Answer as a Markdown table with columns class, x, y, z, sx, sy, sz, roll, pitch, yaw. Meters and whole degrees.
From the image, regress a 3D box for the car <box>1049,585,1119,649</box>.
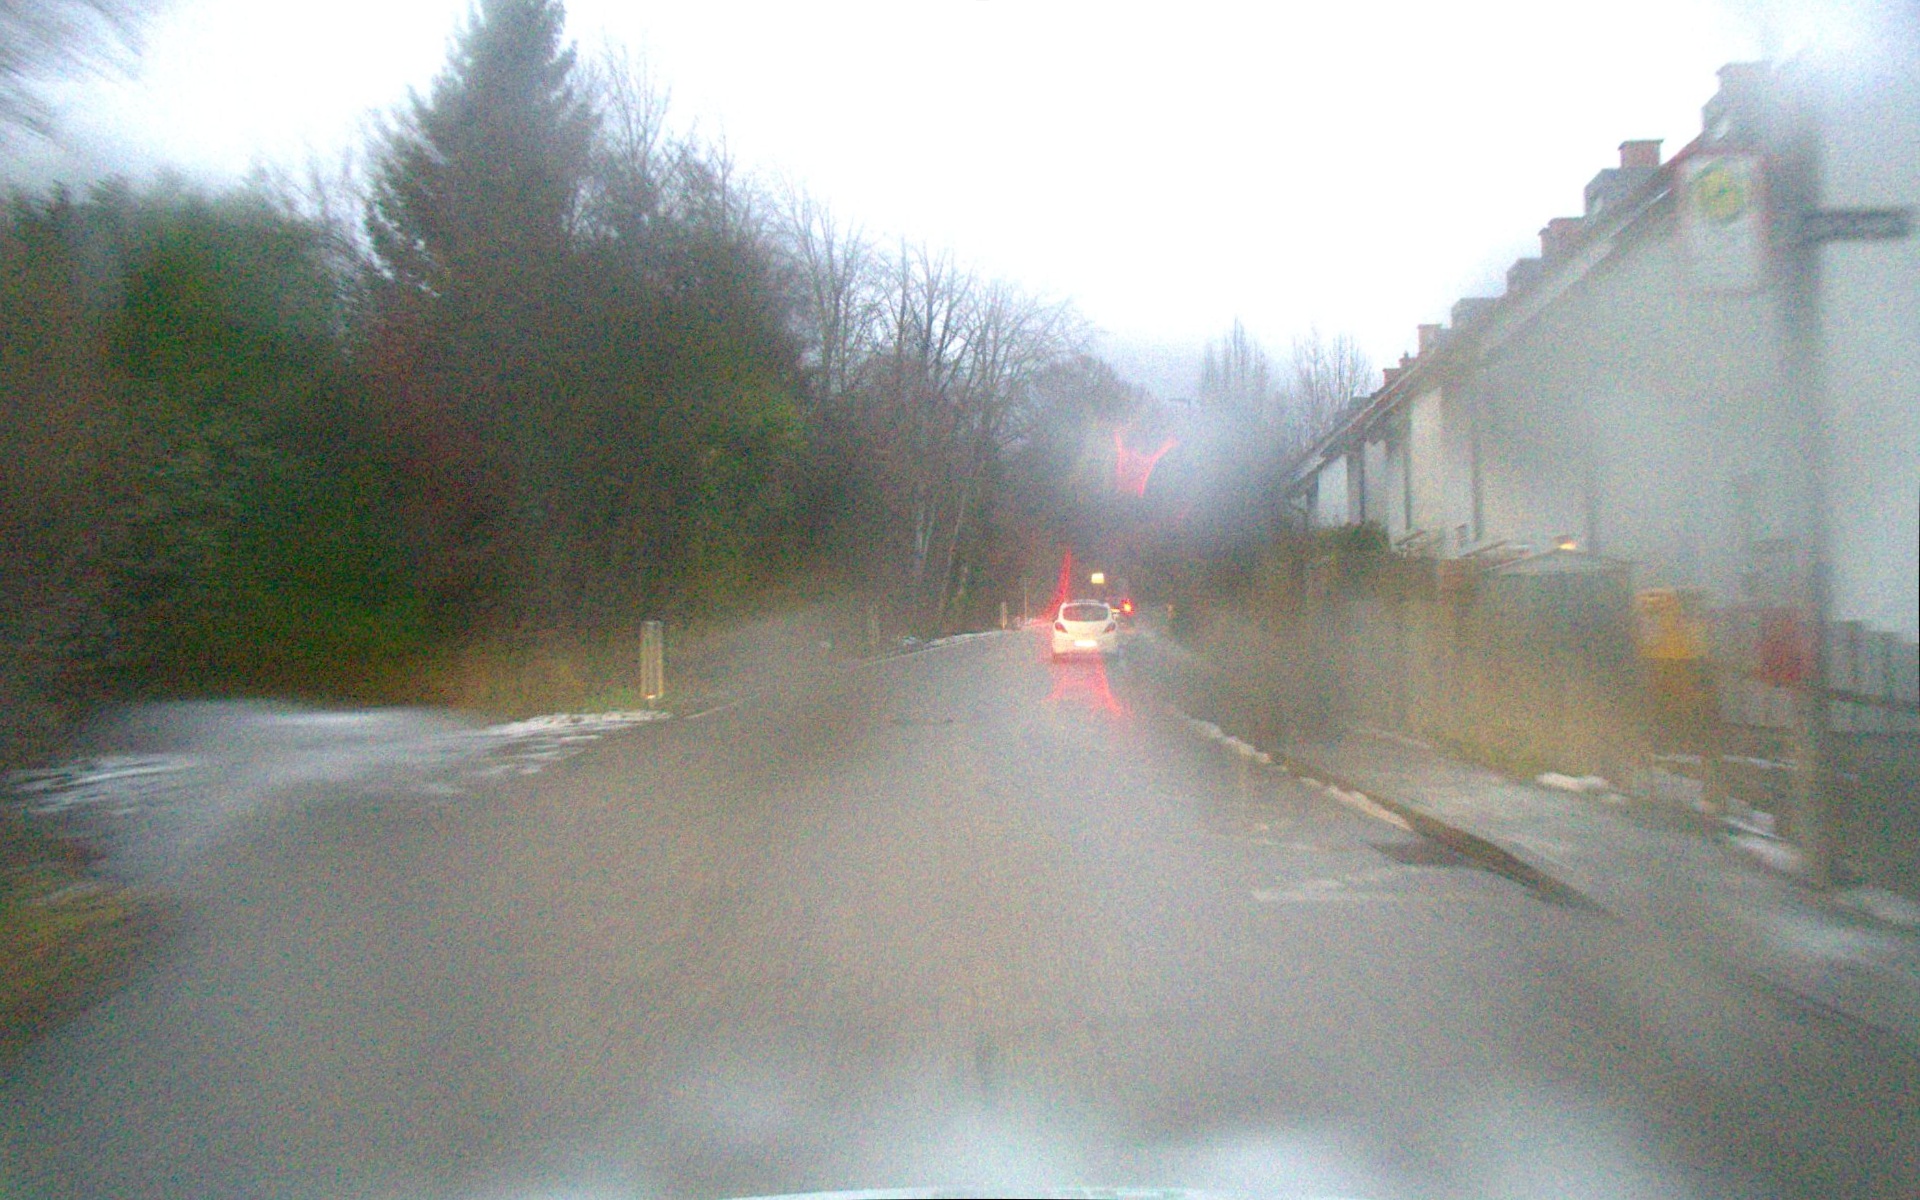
| class | x | y | z | sx | sy | sz | roll | pitch | yaw |
| --- | --- | --- | --- | --- | --- | --- | --- | --- | --- |
| car | 3.092 | 0.420 | 41.590 | 1.668 | 1.532 | 4.026 | 0 | 0 | 4 |

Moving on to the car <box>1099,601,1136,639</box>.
| class | x | y | z | sx | sy | sz | roll | pitch | yaw |
| --- | --- | --- | --- | --- | --- | --- | --- | --- | --- |
| car | 7.823 | 0.966 | 81.932 | 1.654 | 1.805 | 3.863 | -1 | 0 | 7 |
